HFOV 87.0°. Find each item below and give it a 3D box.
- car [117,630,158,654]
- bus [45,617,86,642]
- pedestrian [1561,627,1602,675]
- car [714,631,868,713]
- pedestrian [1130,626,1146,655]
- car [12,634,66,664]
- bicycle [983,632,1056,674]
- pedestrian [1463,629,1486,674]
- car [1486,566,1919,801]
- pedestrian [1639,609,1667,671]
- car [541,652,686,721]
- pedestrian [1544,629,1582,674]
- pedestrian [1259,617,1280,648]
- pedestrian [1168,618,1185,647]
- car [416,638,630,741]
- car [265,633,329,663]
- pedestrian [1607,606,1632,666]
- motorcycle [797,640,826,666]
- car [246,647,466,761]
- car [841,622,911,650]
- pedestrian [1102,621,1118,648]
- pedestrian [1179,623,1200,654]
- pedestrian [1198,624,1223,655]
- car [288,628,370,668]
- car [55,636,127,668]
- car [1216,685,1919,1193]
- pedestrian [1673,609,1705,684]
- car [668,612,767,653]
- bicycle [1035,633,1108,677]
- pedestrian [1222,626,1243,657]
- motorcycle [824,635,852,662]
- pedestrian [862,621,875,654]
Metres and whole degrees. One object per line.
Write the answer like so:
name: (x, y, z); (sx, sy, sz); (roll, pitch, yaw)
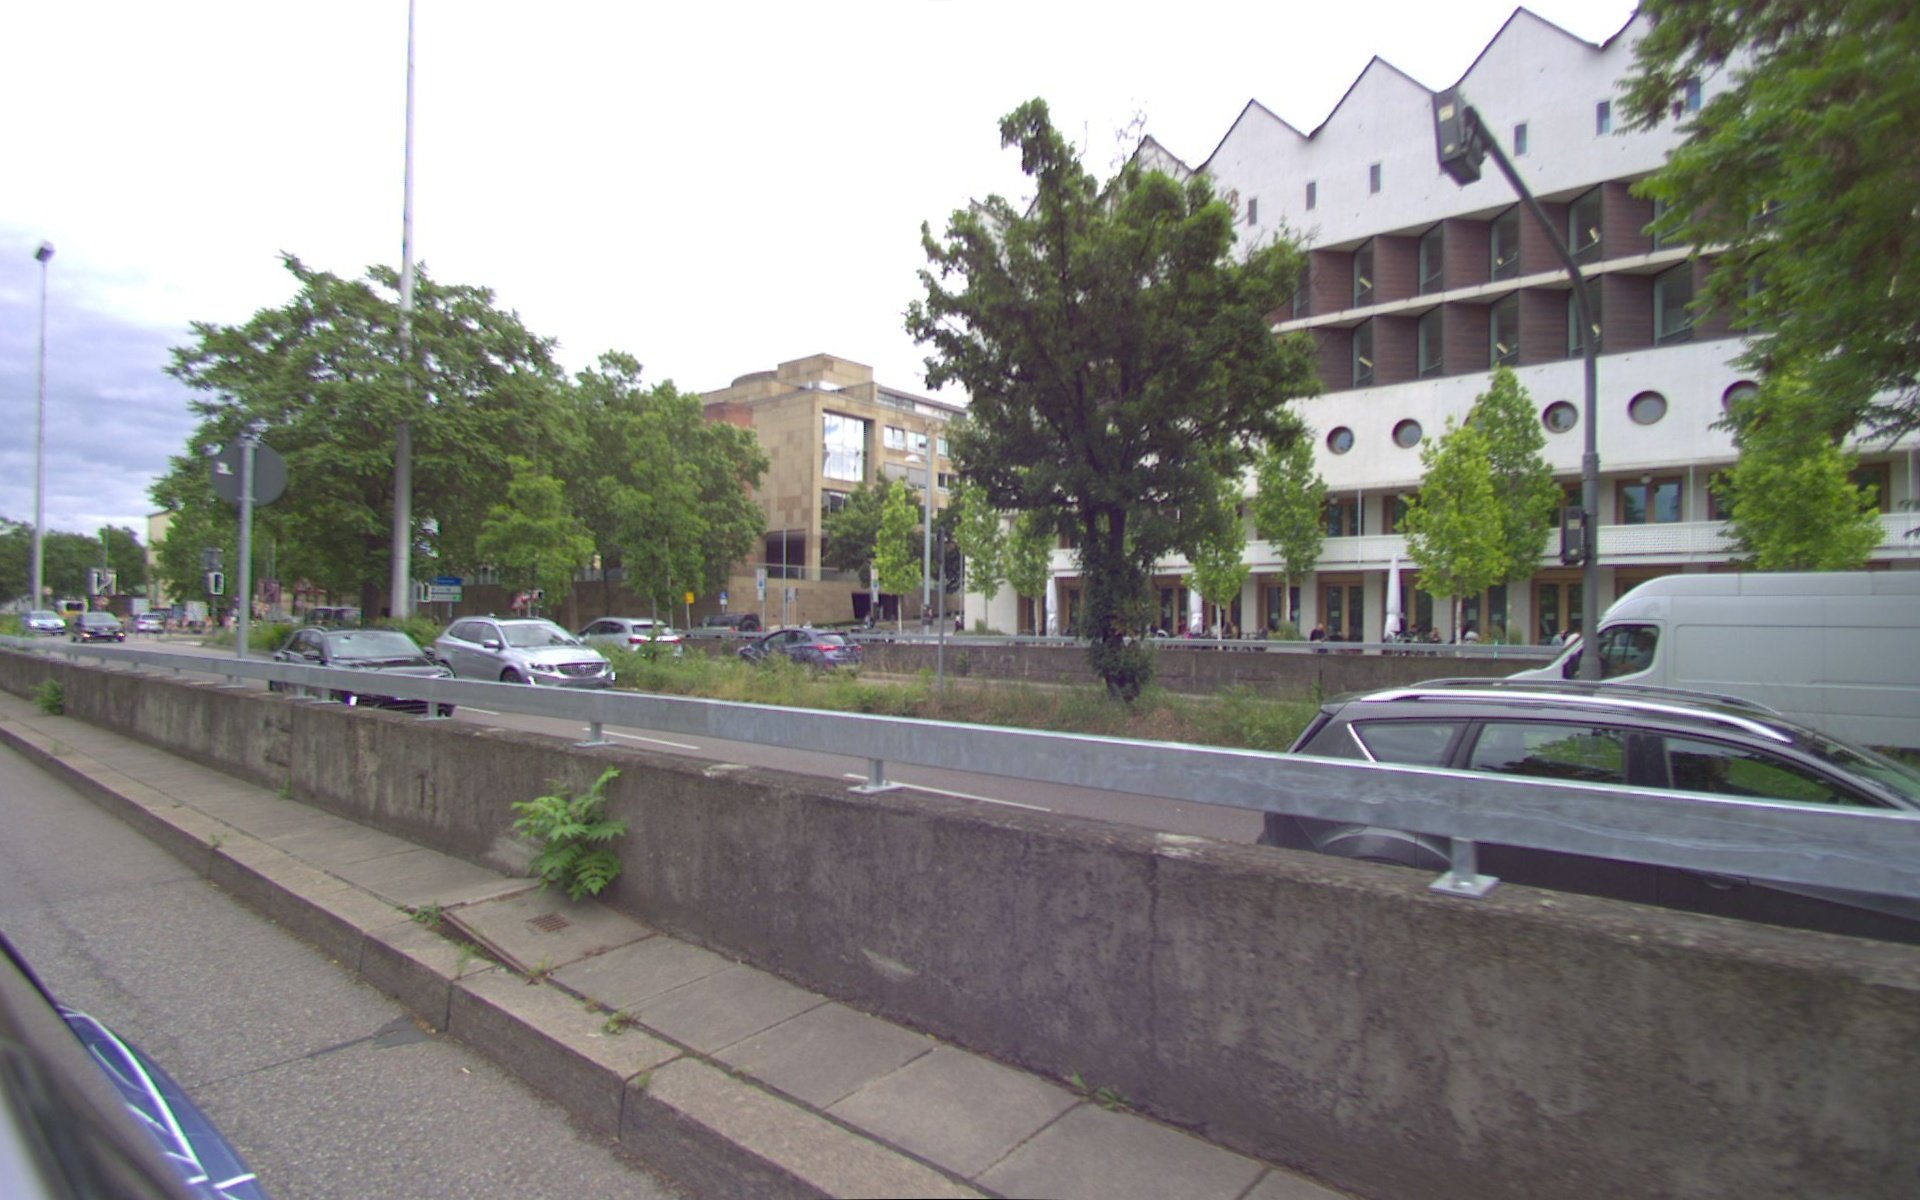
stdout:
car: (-63.772, 3.232, 78.452); (3.996, 1.669, 1.738); (-1, 1, 40)
bus: (-126.942, 4.171, 143.533); (10.442, 3.330, 2.882); (-1, -2, 41)
pedestrian: (20.777, 1.691, 33.839); (0.899, 1.534, 0.634); (4, -1, -1)
car: (-4.736, 1.930, 28.248); (3.991, 2.029, 1.976); (-1, 1, 36)
pedestrian: (8.562, 1.952, 48.758); (0.565, 1.337, 0.513); (0, -2, 42)
car: (-55.070, 2.917, 60.493); (3.998, 1.658, 1.973); (-2, -1, 41)
bicycle: (2.529, 2.195, 42.541); (1.182, 1.697, 3.576); (-2, -3, 40)
pedestrian: (19.431, 1.943, 38.192); (0.630, 1.646, 0.626); (-1, -1, 41)
car: (10.175, 0.864, 12.623); (6.056, 2.543, 2.300); (1, 2, 42)
pedestrian: (23.909, 1.369, 34.910); (0.738, 2.028, 0.703); (-1, -10, 40)
car: (-9.895, 2.390, 28.764); (4.441, 1.730, 1.838); (-1, -3, 40)
pedestrian: (20.735, 1.757, 34.803); (0.899, 1.535, 0.634); (0, -1, -1)
pedestrian: (13.611, 1.417, 44.452); (0.651, 1.337, 0.625); (-2, -2, 44)
pedestrian: (10.146, 1.536, 47.350); (0.565, 1.337, 0.513); (0, -2, 42)
car: (-8.567, 1.618, 19.635); (4.736, 1.629, 1.973); (-1, -1, 41)
car: (-37.027, 2.649, 56.502); (3.994, 1.472, 1.739); (-1, 1, 37)
pedestrian: (22.770, 1.240, 34.959); (0.630, 2.029, 0.626); (-1, -6, 42)
motorcycle: (-7.301, 2.600, 49.841); (0.653, 1.243, 1.879); (2, -1, 16)
car: (-10.085, 1.613, 16.804); (4.146, 1.527, 1.746); (-1, 0, 38)
car: (-4.807, 2.049, 58.251); (1.751, 1.285, 3.946); (2, 4, 41)
pedestrian: (7.400, 1.698, 50.038); (0.565, 1.337, 0.513); (0, -2, 42)
pedestrian: (10.170, 1.711, 44.818); (0.639, 1.337, 0.636); (5, -7, -21)
pedestrian: (10.991, 1.734, 44.399); (0.777, 1.337, 0.672); (0, -1, -22)
car: (-28.203, 2.116, 45.156); (4.442, 1.730, 1.838); (-2, -3, 41)
car: (-42.932, 2.517, 49.942); (4.806, 1.494, 1.973); (-2, -2, 40)
car: (3.834, 1.406, 4.922); (4.653, 1.728, 1.875); (-2, -1, 39)
pedestrian: (20.304, 1.287, 28.192); (0.630, 2.029, 0.626); (-1, 1, 42)
car: (-10.768, 1.434, 44.848); (4.382, 1.730, 1.840); (-1, -3, 36)
bicycle: (4.554, 2.195, 41.171); (1.182, 1.697, 3.576); (-2, -3, 40)
pedestrian: (12.153, 1.852, 45.094); (0.639, 1.337, 0.636); (4, -6, -23)
motorcycle: (-5.910, 2.340, 49.018); (0.653, 1.243, 1.879); (2, -1, 16)
pedestrian: (-4.478, 1.831, 49.376); (0.589, 1.569, 0.883); (0, -2, -1)
